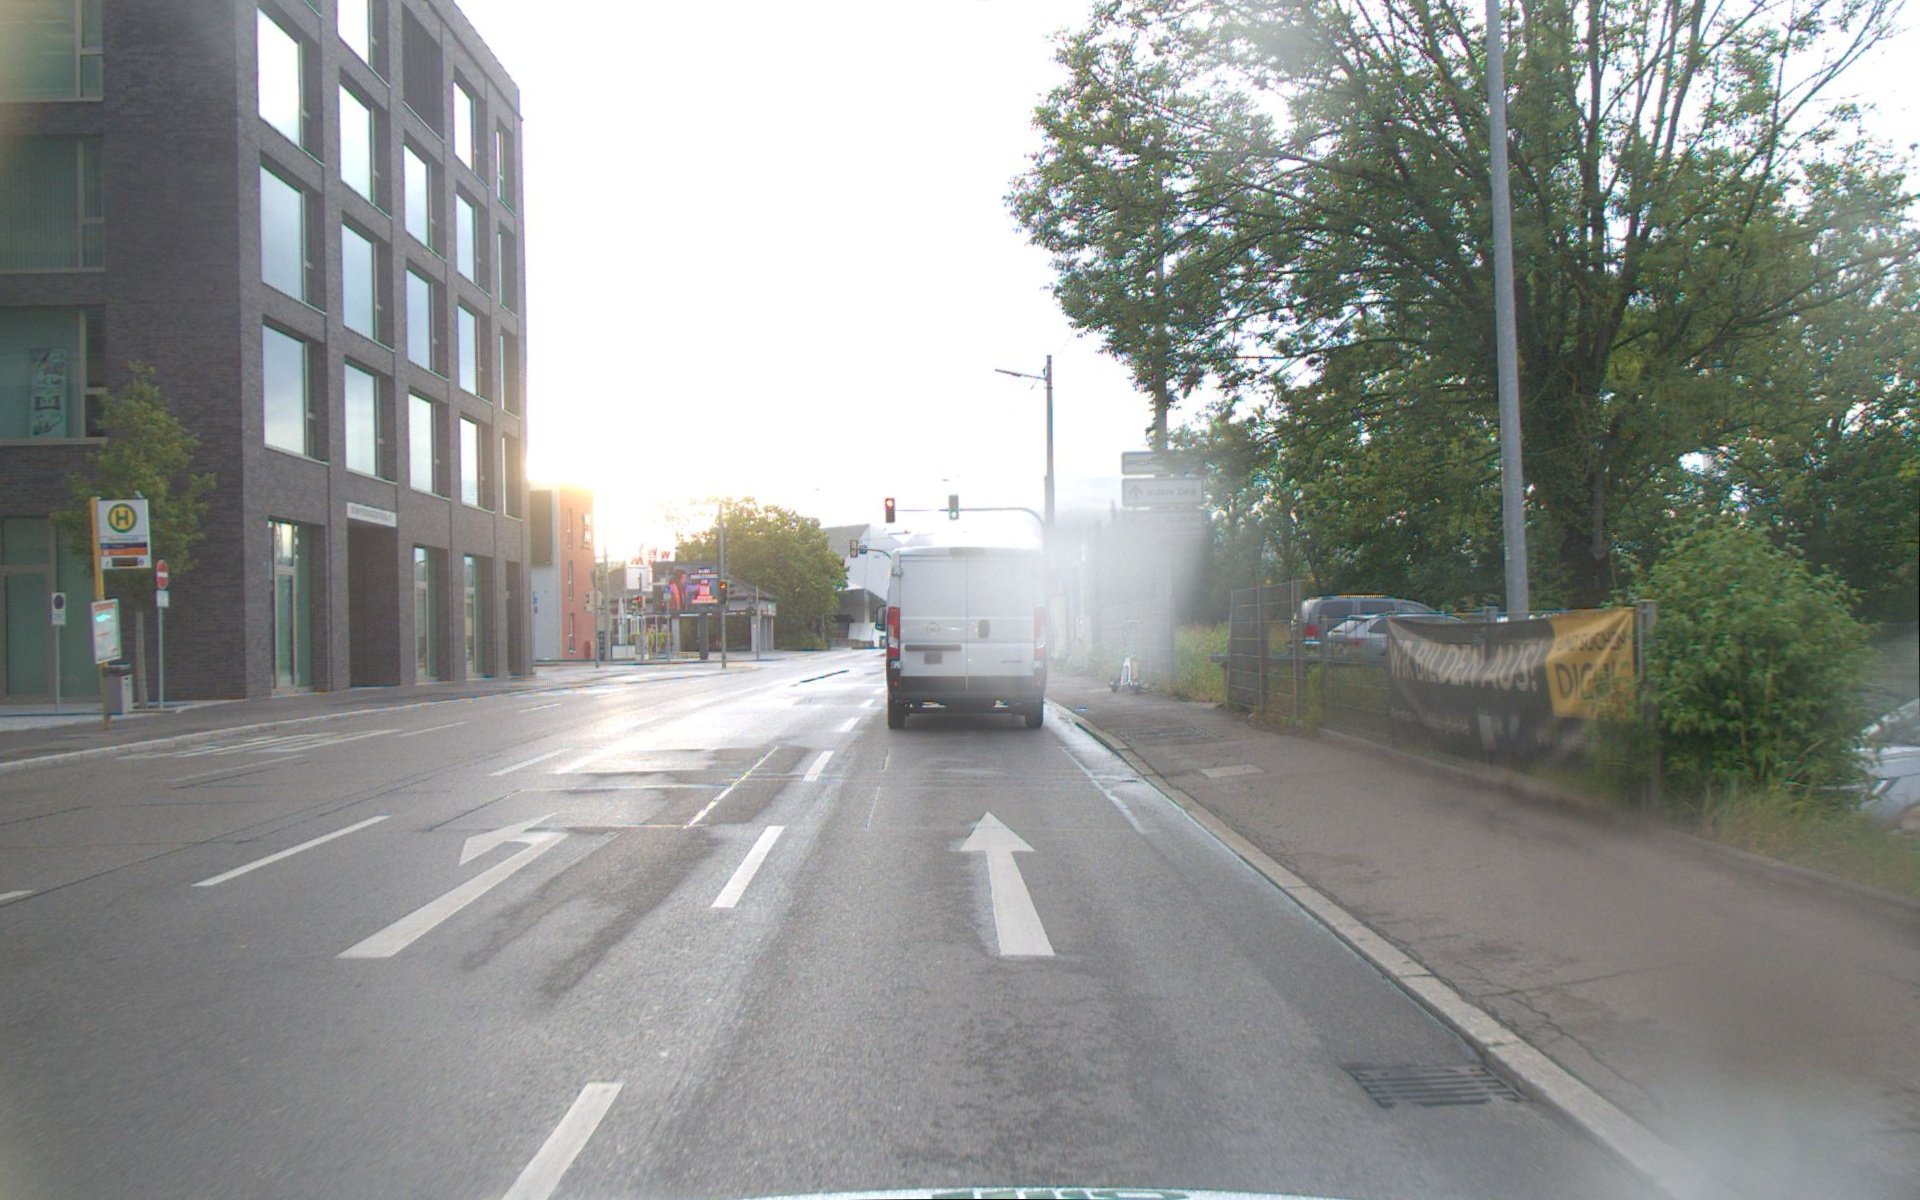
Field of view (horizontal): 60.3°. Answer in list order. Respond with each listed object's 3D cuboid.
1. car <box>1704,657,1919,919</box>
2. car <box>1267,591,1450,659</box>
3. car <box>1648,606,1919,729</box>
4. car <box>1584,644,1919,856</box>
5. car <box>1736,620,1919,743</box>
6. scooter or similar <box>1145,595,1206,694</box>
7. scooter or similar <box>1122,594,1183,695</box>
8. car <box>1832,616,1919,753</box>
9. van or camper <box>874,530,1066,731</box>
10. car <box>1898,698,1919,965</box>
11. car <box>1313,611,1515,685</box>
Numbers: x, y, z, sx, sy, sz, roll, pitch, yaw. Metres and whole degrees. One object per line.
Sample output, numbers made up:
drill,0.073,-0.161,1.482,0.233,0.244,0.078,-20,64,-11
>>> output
car,7.492,1.201,11.451,3.910,1.548,1.801,0,0,-6
car,9.523,0.582,39.692,3.910,1.548,1.801,0,0,-6
car,13.325,1.032,26.339,3.912,1.548,1.801,-5,0,-6
car,7.514,1.178,13.834,3.910,1.548,1.801,0,0,-6
car,12.963,1.069,22.620,3.910,1.548,1.801,0,0,-6
scooter or similar,3.566,0.723,27.439,0.428,1.591,1.264,0,0,-23
scooter or similar,3.159,0.714,27.254,0.428,1.615,1.263,0,0,-23
car,12.942,0.971,20.008,3.910,1.548,1.801,0,0,-6
van or camper,0.116,0.344,22.398,2.292,2.398,5.199,0,0,0
car,7.581,1.352,9.040,3.906,1.548,1.803,0,0,-1
car,9.947,1.030,36.390,3.910,1.548,1.801,0,0,-6
